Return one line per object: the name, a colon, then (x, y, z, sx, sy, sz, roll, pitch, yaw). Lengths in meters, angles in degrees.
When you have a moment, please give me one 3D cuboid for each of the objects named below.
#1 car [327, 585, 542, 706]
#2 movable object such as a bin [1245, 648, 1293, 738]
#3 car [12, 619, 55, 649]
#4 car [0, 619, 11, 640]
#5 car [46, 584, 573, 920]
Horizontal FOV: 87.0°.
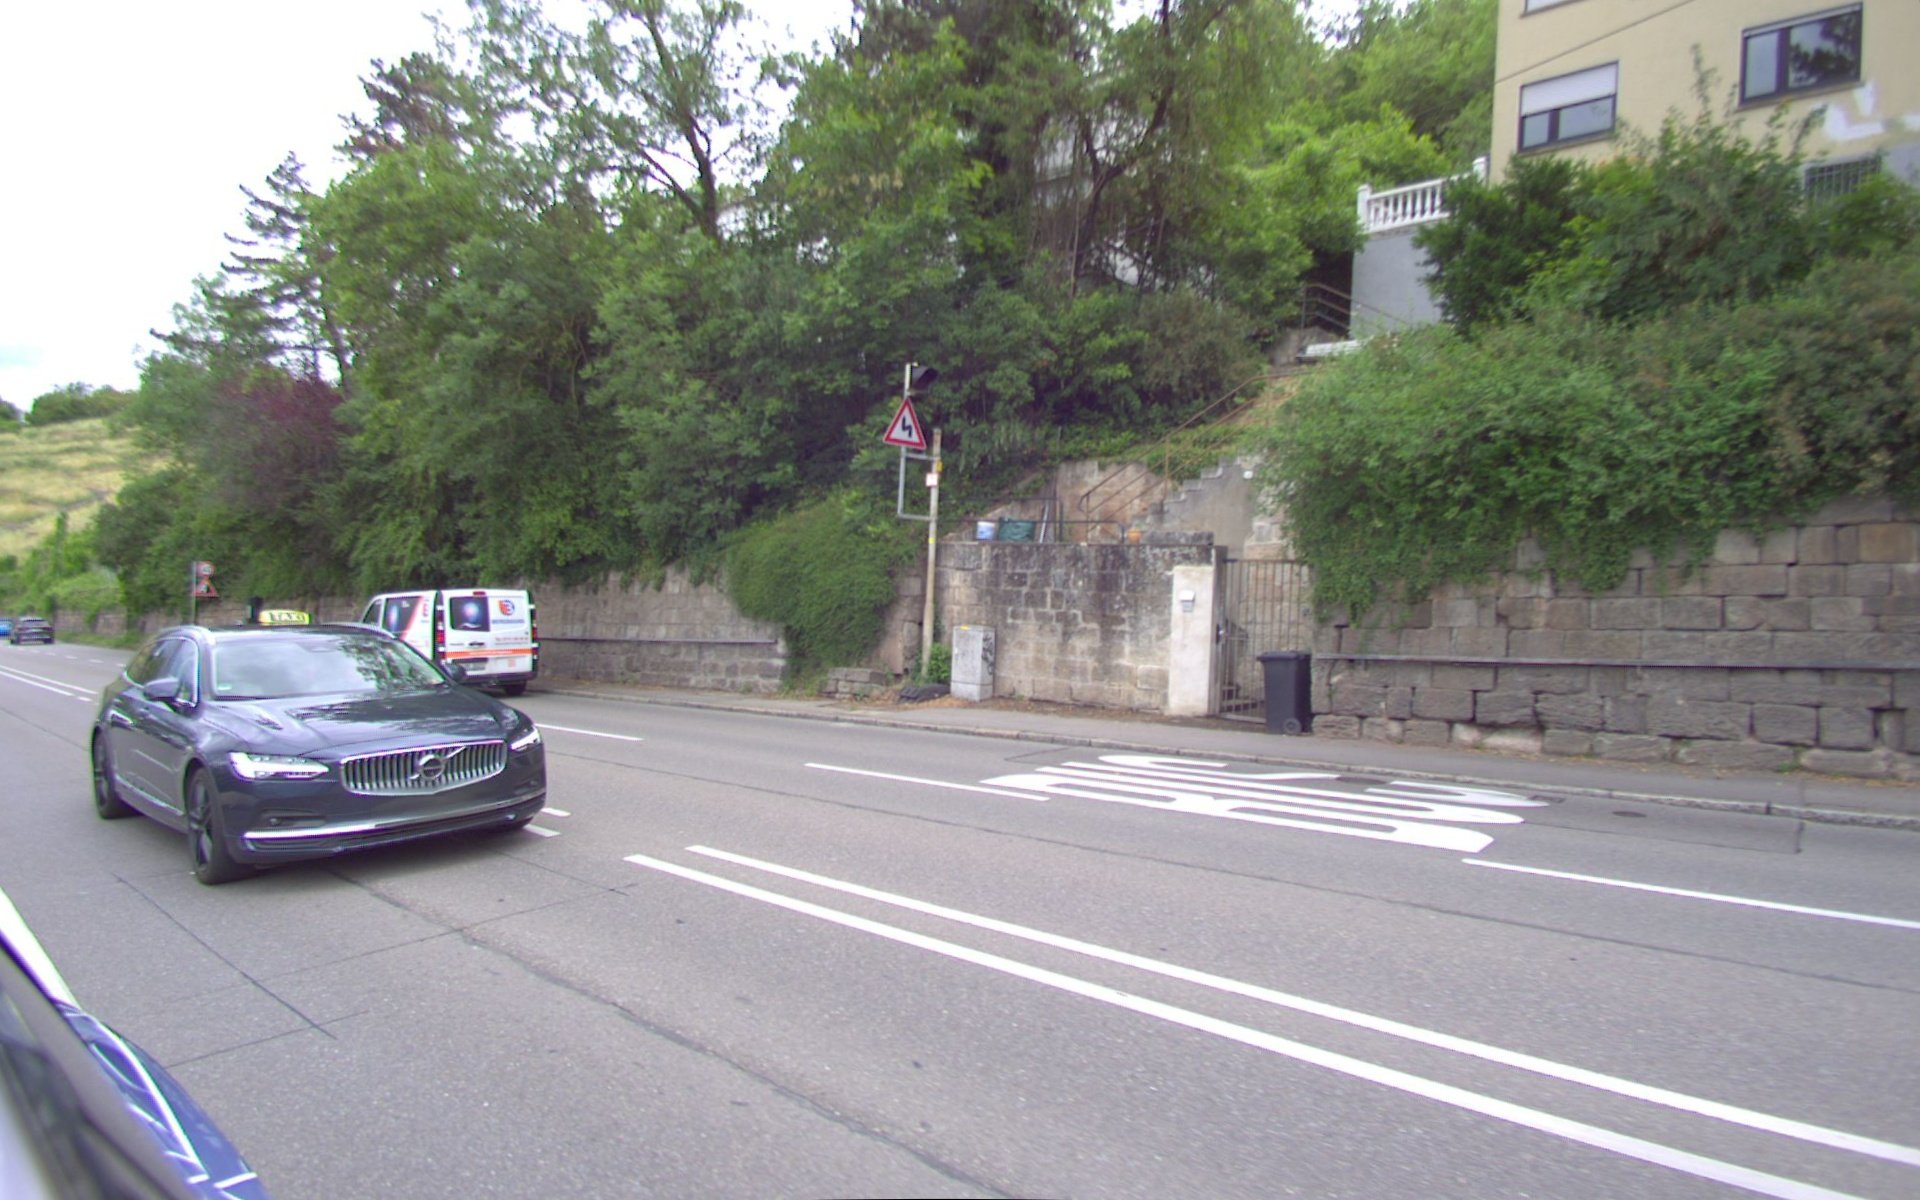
car: (-10.182, 0.817, 19.384, 5.354, 2.020, 1.901, -2, -1, 42)
movable object such as a bin: (3.462, 1.027, 11.335, 0.365, 0.943, 0.474, -1, 1, 37)
car: (-56.514, 2.035, 61.704, 1.795, 1.710, 4.472, 0, -1, -45)
car: (-69.028, 2.106, 72.284, 3.523, 1.472, 1.567, -1, 1, 43)
car: (-4.925, 0.766, 7.267, 5.026, 1.588, 1.914, -1, 0, 42)
